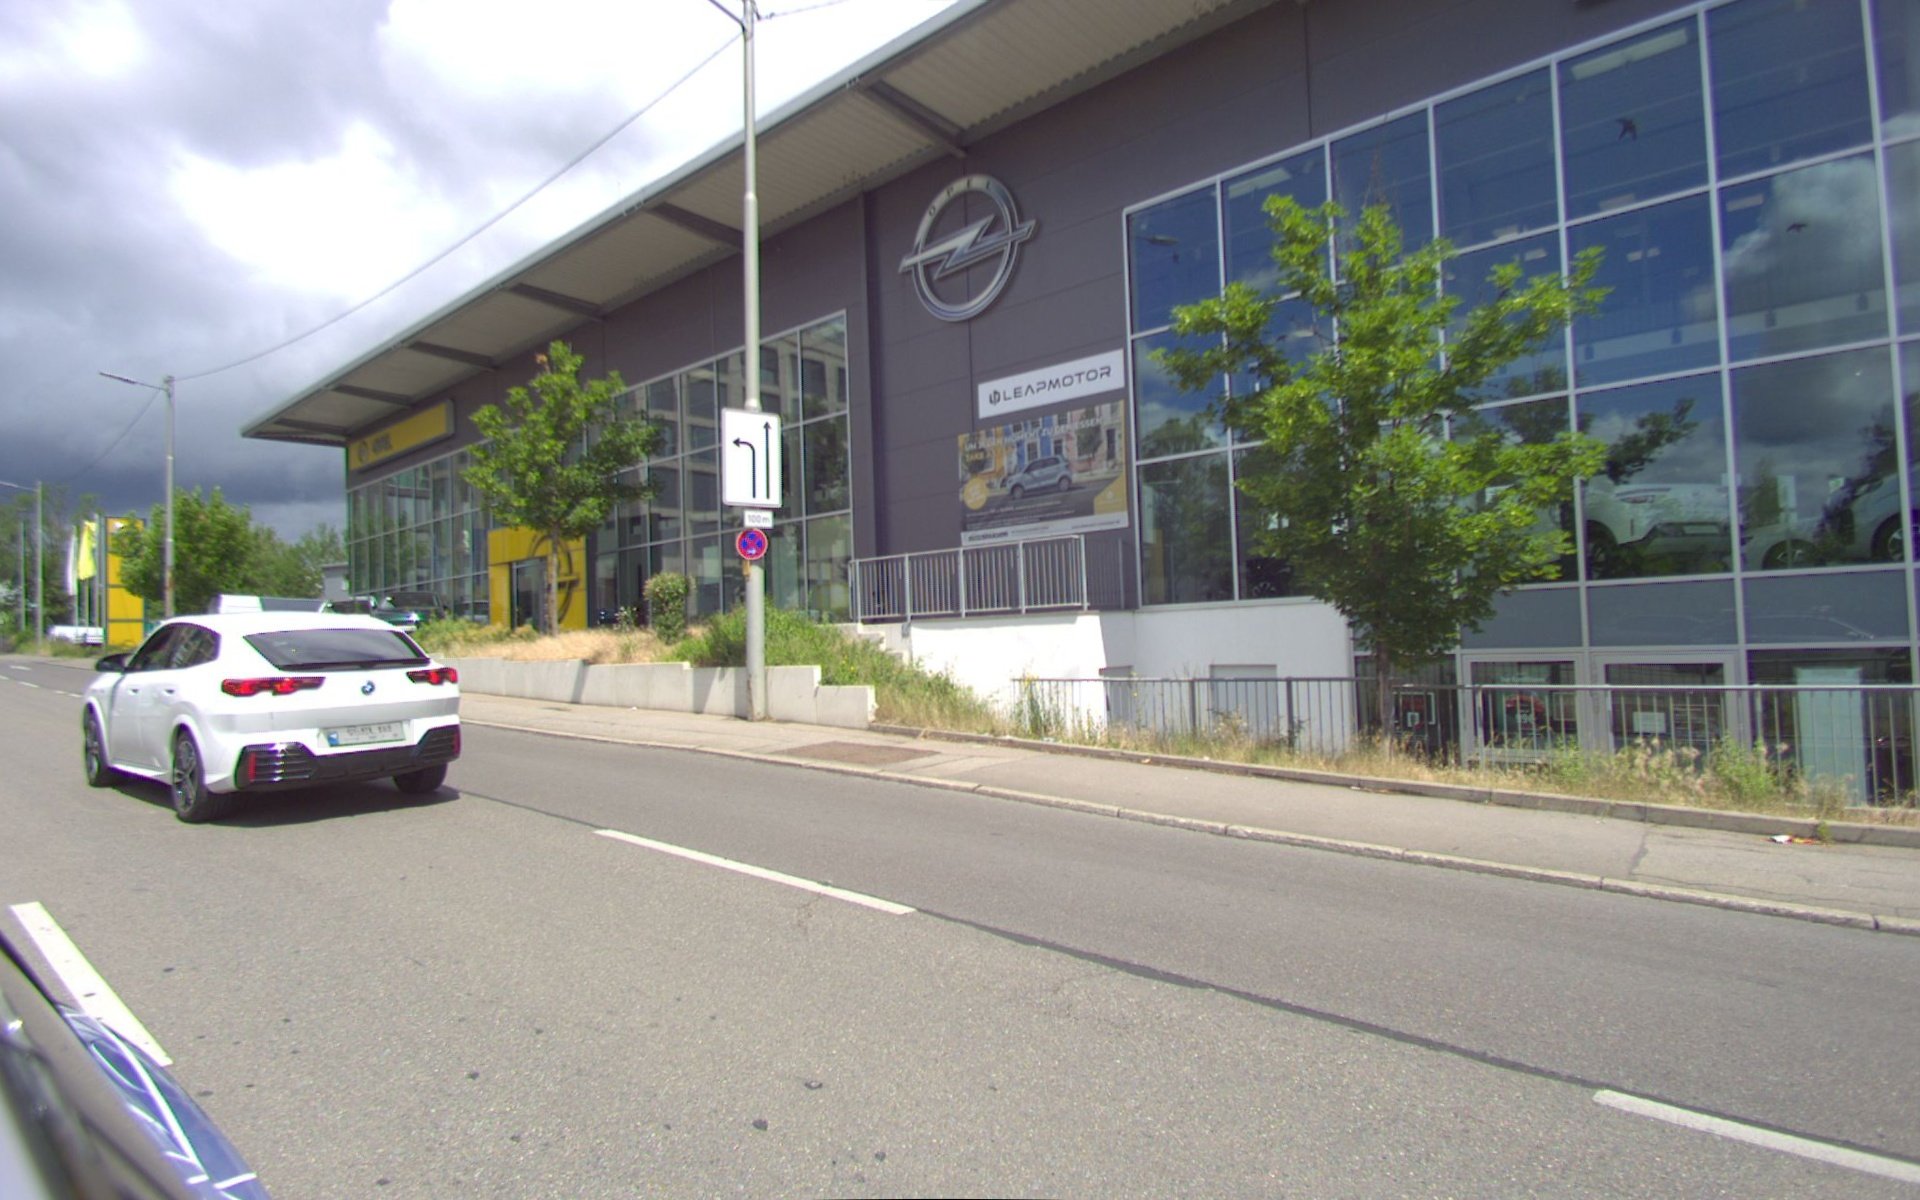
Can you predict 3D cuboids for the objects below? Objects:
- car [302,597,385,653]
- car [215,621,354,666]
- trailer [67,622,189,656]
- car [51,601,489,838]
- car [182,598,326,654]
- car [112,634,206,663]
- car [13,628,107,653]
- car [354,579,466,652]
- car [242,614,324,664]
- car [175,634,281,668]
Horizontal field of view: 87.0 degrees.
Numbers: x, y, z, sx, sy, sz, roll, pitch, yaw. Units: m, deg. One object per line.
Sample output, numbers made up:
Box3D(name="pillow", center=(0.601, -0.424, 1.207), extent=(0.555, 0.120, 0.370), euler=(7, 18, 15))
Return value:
Box3D(name="car", center=(-19.247, 0.771, 31.747), extent=(1.767, 1.625, 4.122), euler=(0, -1, -25))
Box3D(name="car", center=(-25.728, 1.642, 38.680), extent=(1.792, 1.625, 4.064), euler=(-2, -2, 32))
Box3D(name="trailer", center=(-45.319, 2.085, 55.234), extent=(2.092, 1.765, 4.776), euler=(-2, -2, 37))
Box3D(name="car", center=(-6.060, 0.836, 8.722), extent=(4.298, 1.564, 1.811), euler=(-1, -2, 37))
Box3D(name="car", center=(-29.192, 1.061, 41.977), extent=(2.177, 2.211, 4.476), euler=(-1, -1, 38))
Box3D(name="car", center=(-42.014, 2.529, 53.107), extent=(1.814, 1.420, 3.621), euler=(-2, -2, 42))
Box3D(name="car", center=(-57.685, 2.571, 64.934), extent=(2.093, 1.493, 4.200), euler=(-2, -2, 38))
Box3D(name="car", center=(-15.475, 0.466, 28.719), extent=(1.793, 1.624, 4.121), euler=(-11, 1, -17))
Box3D(name="car", center=(-23.457, 1.335, 35.209), extent=(1.767, 1.625, 4.122), euler=(1, -2, -26))
Box3D(name="car", center=(-35.521, 2.449, 49.170), extent=(1.559, 1.539, 3.897), euler=(-2, -2, 38))
